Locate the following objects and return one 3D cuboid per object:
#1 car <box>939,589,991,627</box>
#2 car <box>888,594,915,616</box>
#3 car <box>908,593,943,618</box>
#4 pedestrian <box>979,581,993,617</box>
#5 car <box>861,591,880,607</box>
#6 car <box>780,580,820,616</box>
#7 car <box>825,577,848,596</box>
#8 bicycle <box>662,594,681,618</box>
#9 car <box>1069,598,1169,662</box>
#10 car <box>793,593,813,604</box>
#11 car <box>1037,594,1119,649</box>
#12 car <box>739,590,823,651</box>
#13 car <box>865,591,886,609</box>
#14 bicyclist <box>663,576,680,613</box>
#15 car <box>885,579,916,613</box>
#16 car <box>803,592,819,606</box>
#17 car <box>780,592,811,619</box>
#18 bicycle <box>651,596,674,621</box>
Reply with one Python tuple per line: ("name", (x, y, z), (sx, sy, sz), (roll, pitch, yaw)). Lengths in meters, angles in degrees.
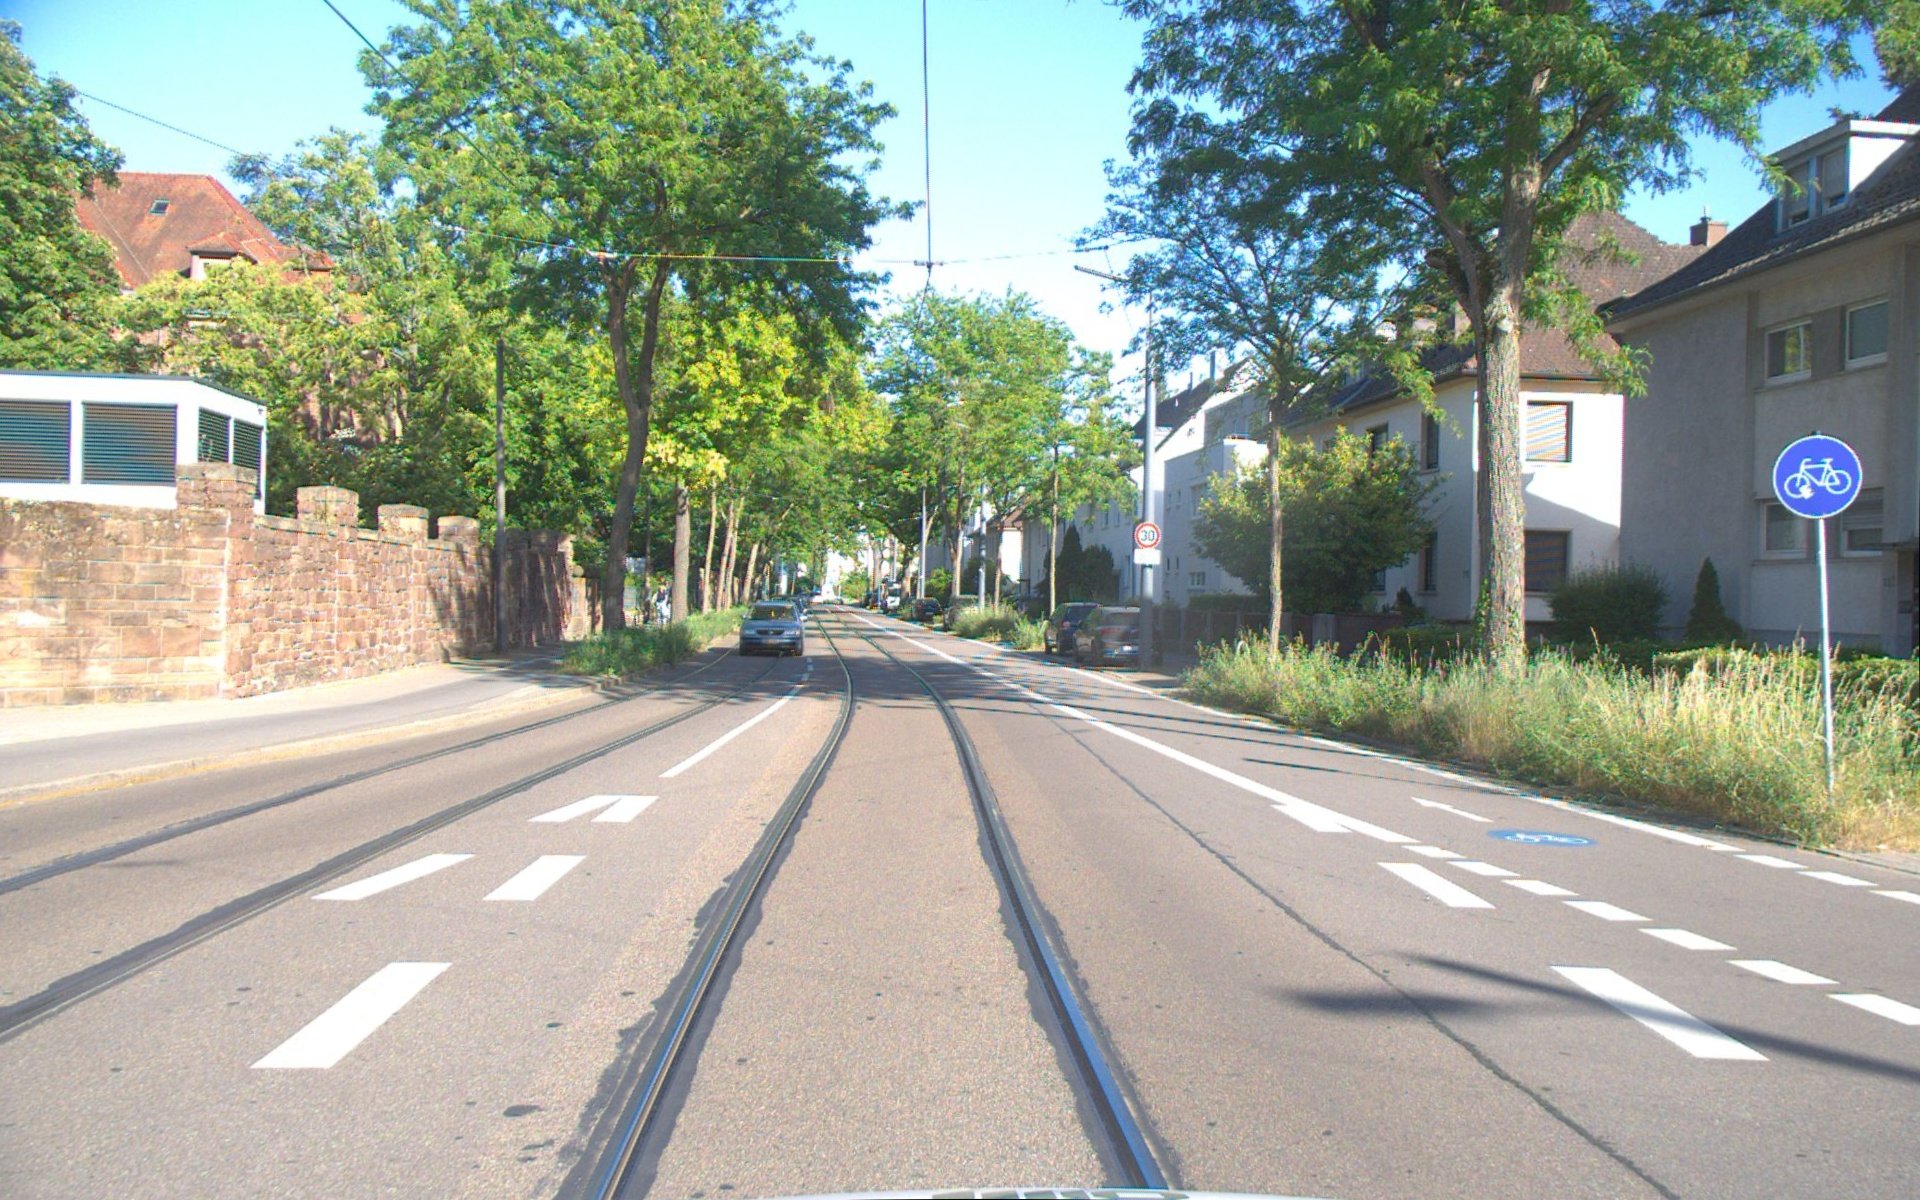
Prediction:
("car", (0.199, 0.358, 80.228), (1.955, 1.734, 4.471), (-2, 1, -6))
("car", (-4.111, 0.321, 116.287), (1.596, 1.422, 3.641), (-2, 1, -6))
("car", (-2.249, 0.361, 106.388), (1.750, 1.473, 4.294), (-2, 1, -7))
("pedestrian", (1.429, -0.050, 90.498), (0.613, 1.903, 0.731), (-2, 0, -7))
("car", (-10.084, -0.154, 186.898), (1.962, 1.704, 4.391), (-1, 0, -2))
("car", (-7.143, -0.087, 73.886), (1.714, 1.551, 4.031), (1, 0, -6))
("car", (-16.112, -1.752, 215.715), (1.963, 2.501, 4.485), (0, 0, -18))
("bicycle", (-12.201, 0.243, 69.899), (0.578, 0.977, 2.130), (1, 0, -5))
("car", (3.971, 0.710, 42.026), (1.714, 1.521, 4.438), (0, 0, -6))
("car", (-22.727, -0.183, 239.484), (1.972, 1.588, 4.370), (0, 0, -18))
("car", (3.371, 0.603, 47.978), (1.714, 1.521, 3.992), (0, 0, -6))
("car", (-4.880, 0.535, 45.709), (1.953, 1.551, 4.577), (1, 0, -2))
("car", (-8.691, -0.011, 169.415), (1.964, 1.704, 4.387), (-1, 0, -6))
("bicyclist", (-12.196, -0.233, 69.921), (0.582, 1.554, 1.060), (1, 0, -5))
("car", (-4.992, -0.339, 137.644), (2.202, 2.700, 5.578), (-1, 0, -6))
("car", (-17.940, -0.126, 198.719), (1.830, 1.704, 4.167), (0, 0, -6))
("car", (-9.642, 0.316, 96.816), (1.714, 1.551, 4.065), (1, 0, -6))
("bicycle", (-11.918, 0.344, 66.280), (0.697, 0.977, 2.092), (1, 0, -5))
